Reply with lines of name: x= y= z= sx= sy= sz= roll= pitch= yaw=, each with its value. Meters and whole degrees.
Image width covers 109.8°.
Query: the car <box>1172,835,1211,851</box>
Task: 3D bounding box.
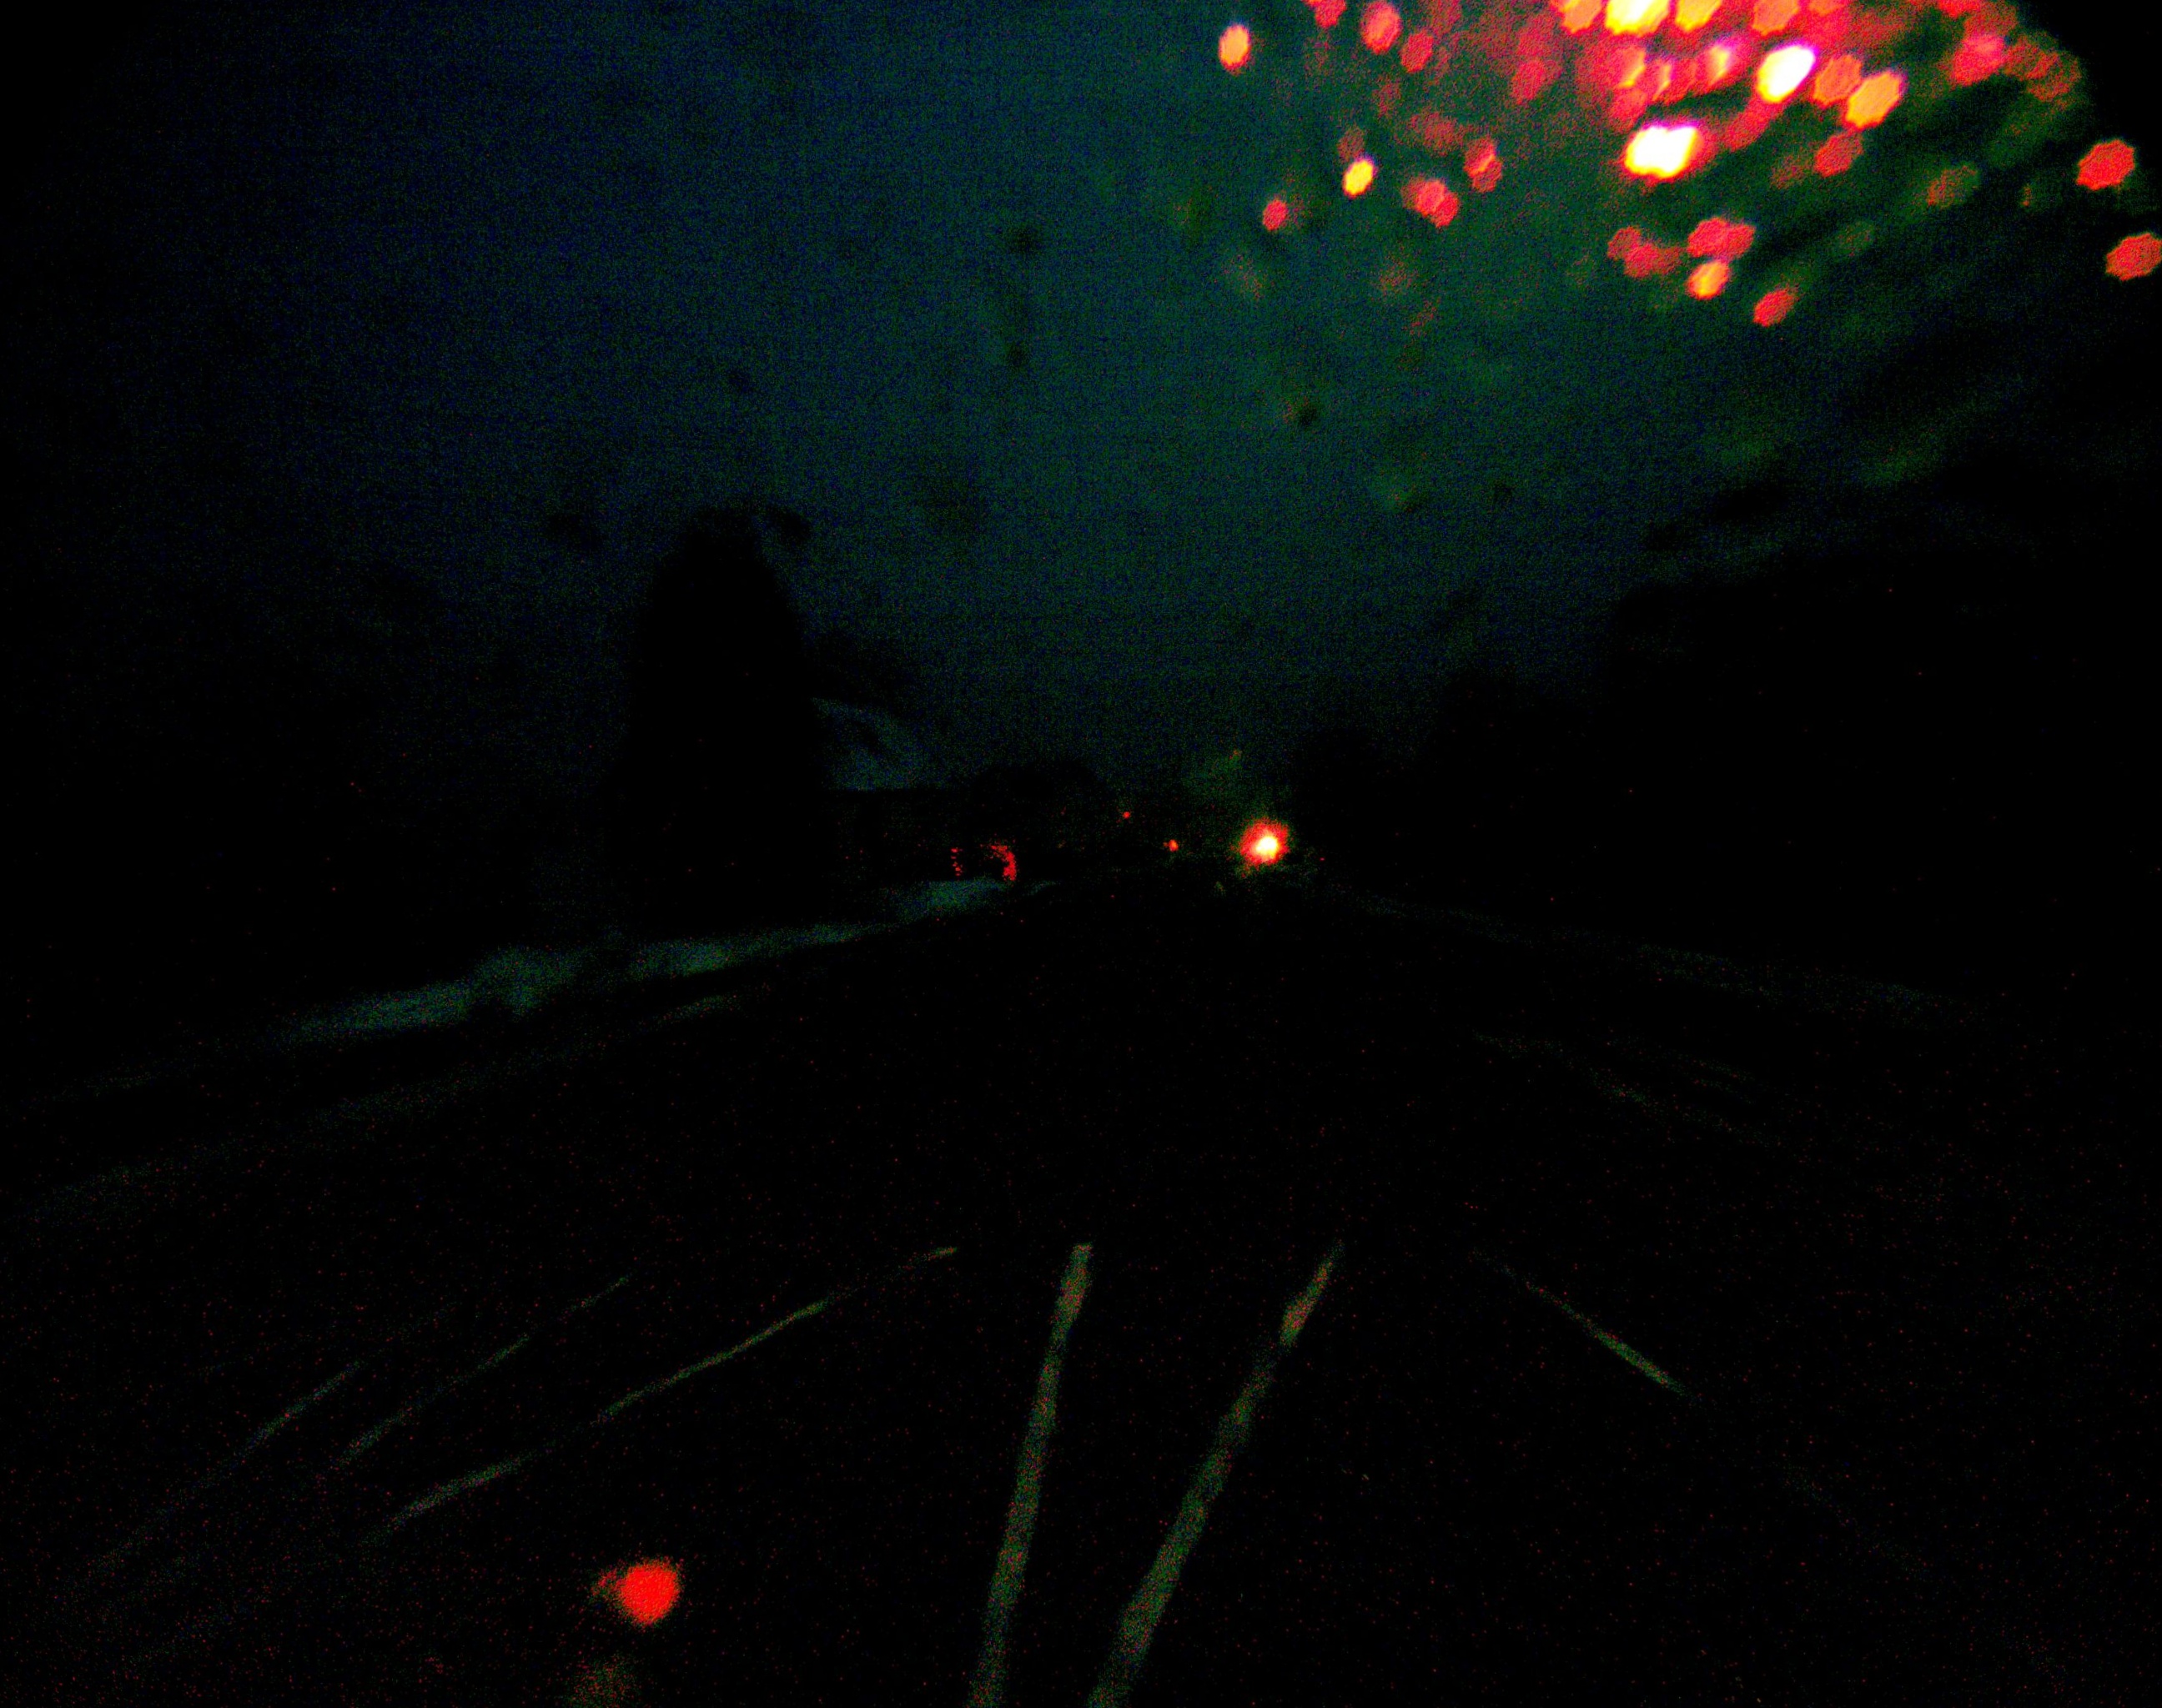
car: x=13.380 y=-1.348 z=92.115 sx=4.207 sy=1.848 sz=1.914 roll=1 pitch=4 yaw=33

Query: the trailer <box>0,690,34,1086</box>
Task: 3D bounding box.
trailer: x=-9.629 y=0.063 z=3.279 sx=2.881 sy=3.540 sz=5.062 roll=-2 pitch=2 yaw=3

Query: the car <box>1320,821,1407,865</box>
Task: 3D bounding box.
car: x=14.870 y=-0.596 z=40.218 sx=3.994 sy=1.599 sz=1.905 roll=-11 pitch=0 yaw=17

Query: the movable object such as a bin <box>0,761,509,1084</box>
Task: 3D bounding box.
movable object such as a bin: x=-9.104 y=0.501 z=7.883 sx=2.391 sy=2.455 sz=4.517 roll=-2 pitch=2 yaw=10
